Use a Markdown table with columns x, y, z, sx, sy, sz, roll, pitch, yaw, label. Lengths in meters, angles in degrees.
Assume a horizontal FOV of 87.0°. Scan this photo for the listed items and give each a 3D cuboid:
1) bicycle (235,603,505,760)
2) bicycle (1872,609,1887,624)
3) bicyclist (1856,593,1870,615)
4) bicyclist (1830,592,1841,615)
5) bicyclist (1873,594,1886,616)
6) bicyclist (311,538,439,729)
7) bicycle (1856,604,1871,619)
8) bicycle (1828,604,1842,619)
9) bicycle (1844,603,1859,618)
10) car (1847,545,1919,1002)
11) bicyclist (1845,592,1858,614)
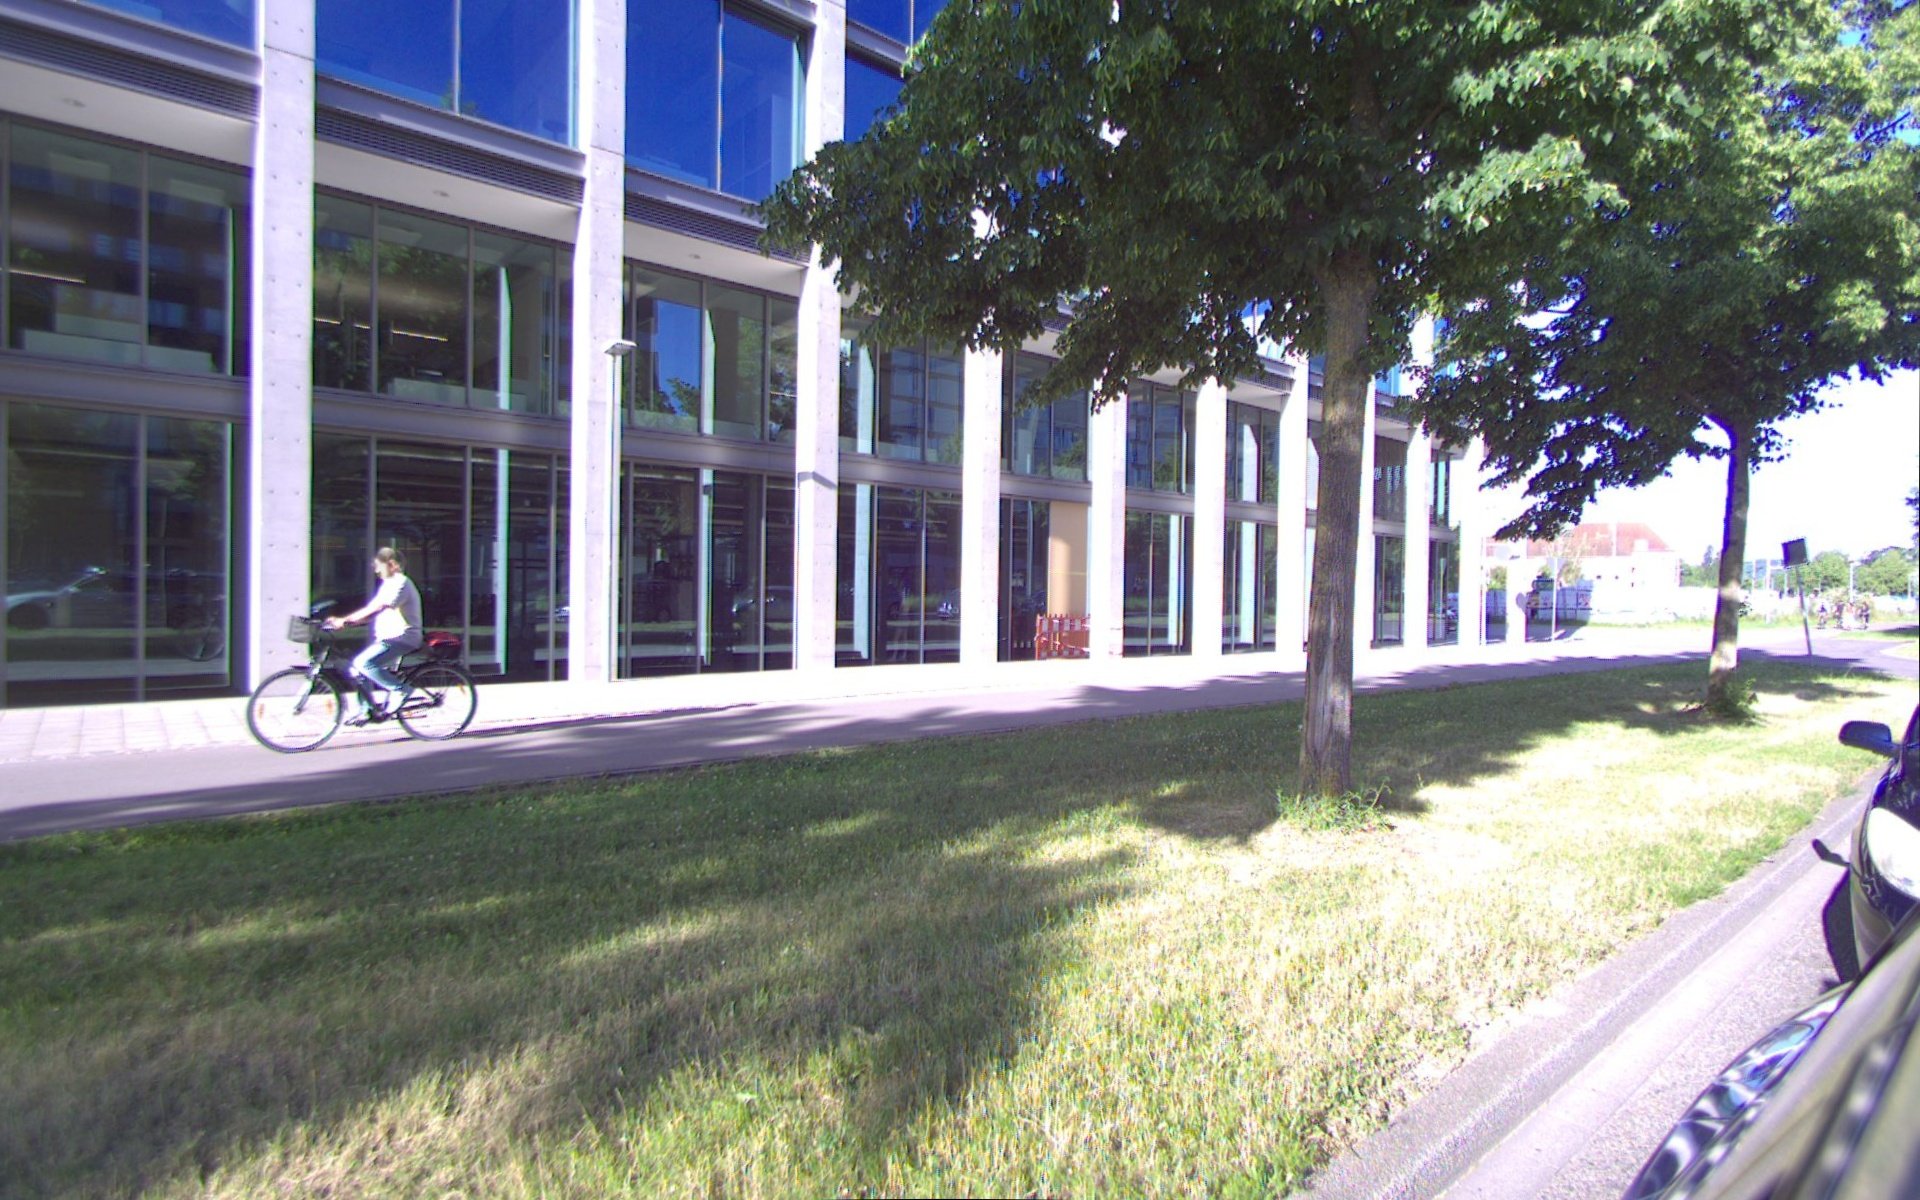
| x | y | z | sx | sy | sz | roll | pitch | yaw | label |
| --- | --- | --- | --- | --- | --- | --- | --- | --- | --- |
| -5.103 | 0.643 | 8.827 | 1.927 | 1.188 | 0.743 | 0 | 2 | -41 | bicycle |
| 54.488 | 0.982 | 59.957 | 1.321 | 0.828 | 0.464 | -1 | 0 | -40 | bicycle |
| 51.209 | 0.235 | 57.395 | 0.498 | 1.232 | 0.534 | 0 | 0 | -40 | bicyclist |
| 50.490 | 0.193 | 58.363 | 0.410 | 1.305 | 0.448 | 0 | 0 | -40 | bicyclist |
| 54.449 | 0.276 | 59.928 | 0.512 | 1.305 | 0.534 | 0 | 0 | -40 | bicyclist |
| -5.096 | 0.263 | 8.812 | 0.835 | 1.550 | 0.773 | 0 | 1 | -41 | bicyclist |
| 51.195 | 0.666 | 57.359 | 1.321 | 0.828 | 0.464 | -1 | 0 | -40 | bicycle |
| 50.450 | 0.661 | 58.339 | 1.296 | 0.828 | 0.415 | -1 | 0 | -40 | bicycle |
| 53.434 | 0.627 | 60.645 | 1.321 | 0.828 | 0.464 | -1 | 0 | -40 | bicycle |
| 5.065 | 0.594 | 4.125 | 3.719 | 1.541 | 1.685 | 0 | 1 | -41 | car |
| 53.377 | 0.181 | 60.592 | 0.449 | 1.305 | 0.534 | 0 | 0 | -40 | bicyclist |
